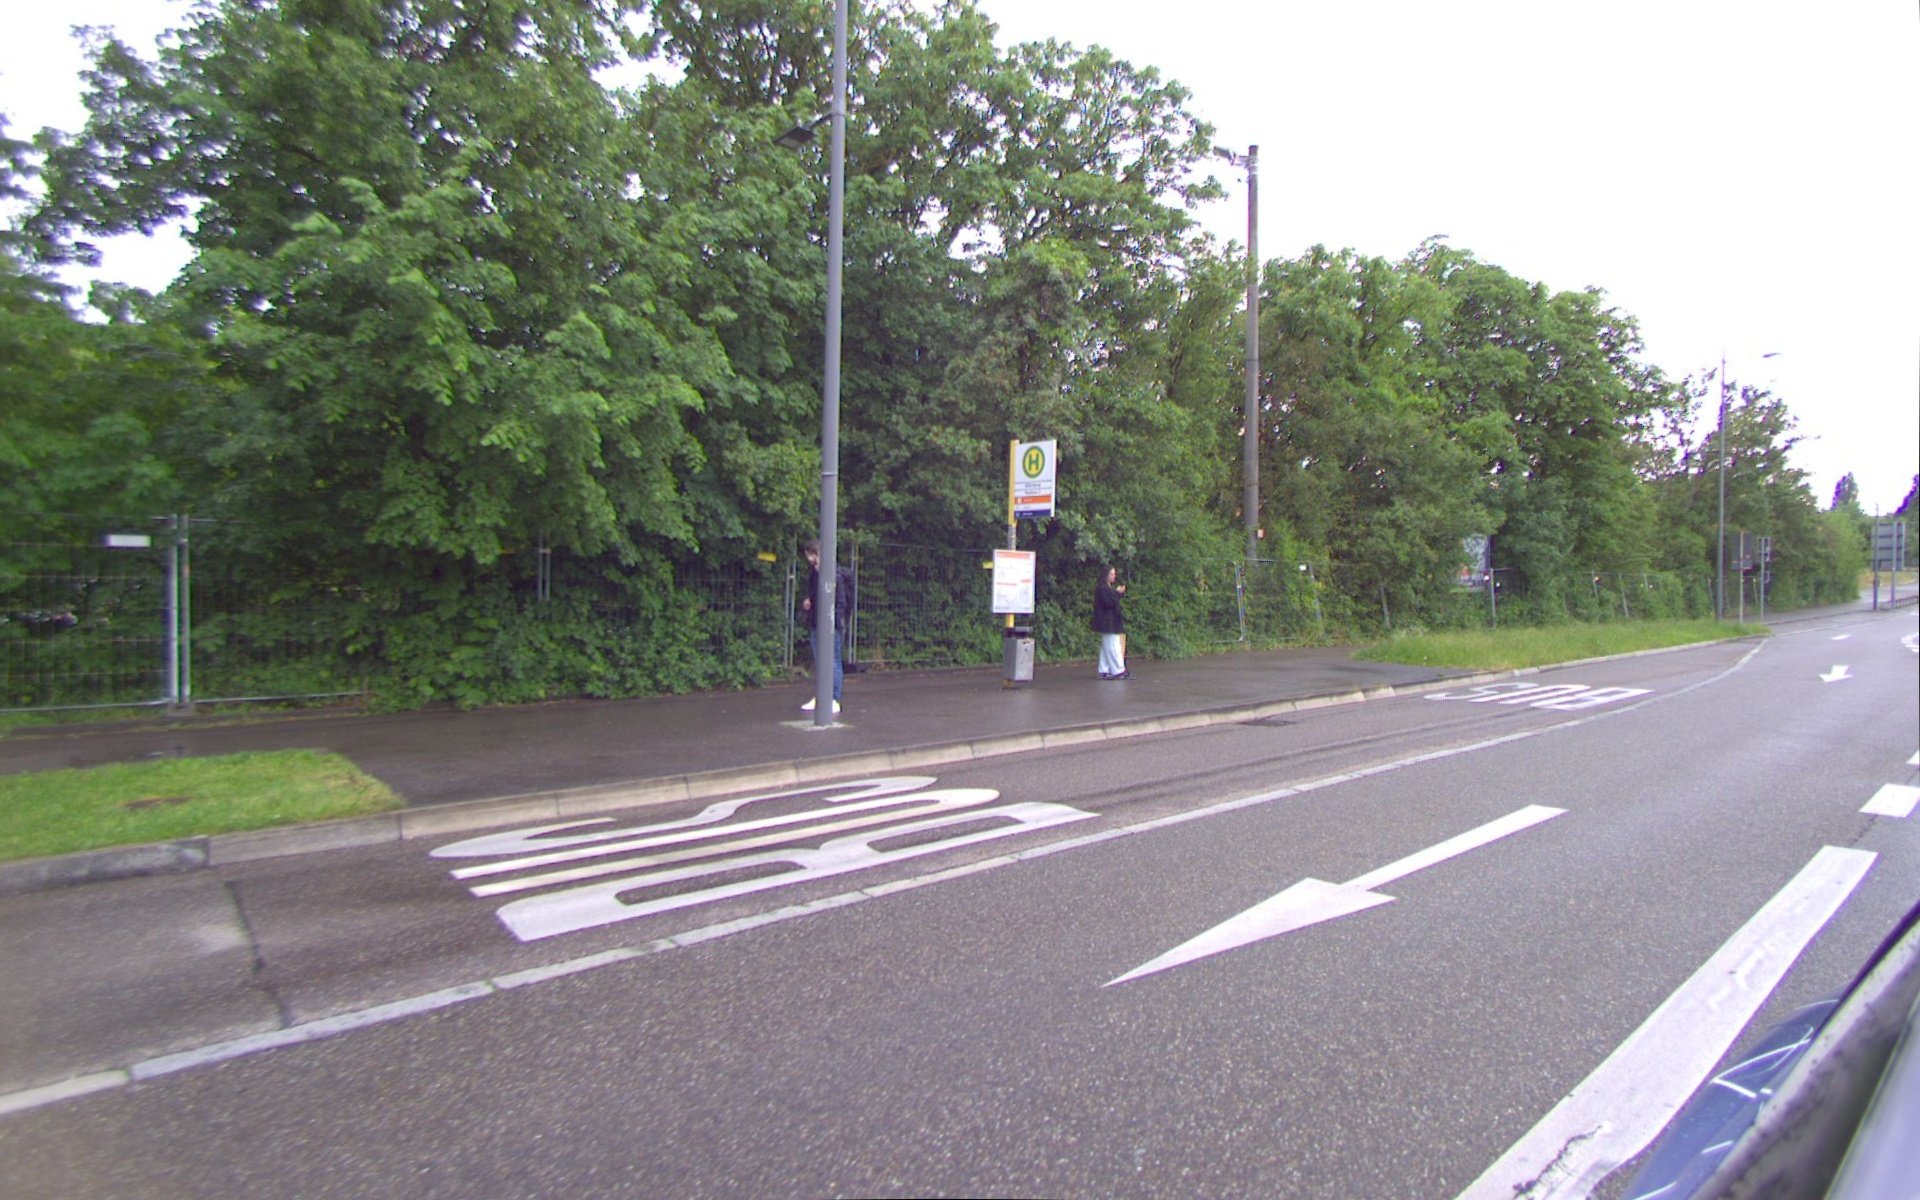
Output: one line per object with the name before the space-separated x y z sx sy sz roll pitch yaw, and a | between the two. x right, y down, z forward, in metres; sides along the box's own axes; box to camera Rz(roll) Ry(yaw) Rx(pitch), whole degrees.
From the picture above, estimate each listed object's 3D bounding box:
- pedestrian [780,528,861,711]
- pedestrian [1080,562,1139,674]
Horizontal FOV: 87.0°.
pedestrian | -1.577 0.195 11.396 0.587 1.973 0.742 0 1 -40
pedestrian | 2.275 0.255 15.360 0.650 1.648 0.588 0 1 -40
